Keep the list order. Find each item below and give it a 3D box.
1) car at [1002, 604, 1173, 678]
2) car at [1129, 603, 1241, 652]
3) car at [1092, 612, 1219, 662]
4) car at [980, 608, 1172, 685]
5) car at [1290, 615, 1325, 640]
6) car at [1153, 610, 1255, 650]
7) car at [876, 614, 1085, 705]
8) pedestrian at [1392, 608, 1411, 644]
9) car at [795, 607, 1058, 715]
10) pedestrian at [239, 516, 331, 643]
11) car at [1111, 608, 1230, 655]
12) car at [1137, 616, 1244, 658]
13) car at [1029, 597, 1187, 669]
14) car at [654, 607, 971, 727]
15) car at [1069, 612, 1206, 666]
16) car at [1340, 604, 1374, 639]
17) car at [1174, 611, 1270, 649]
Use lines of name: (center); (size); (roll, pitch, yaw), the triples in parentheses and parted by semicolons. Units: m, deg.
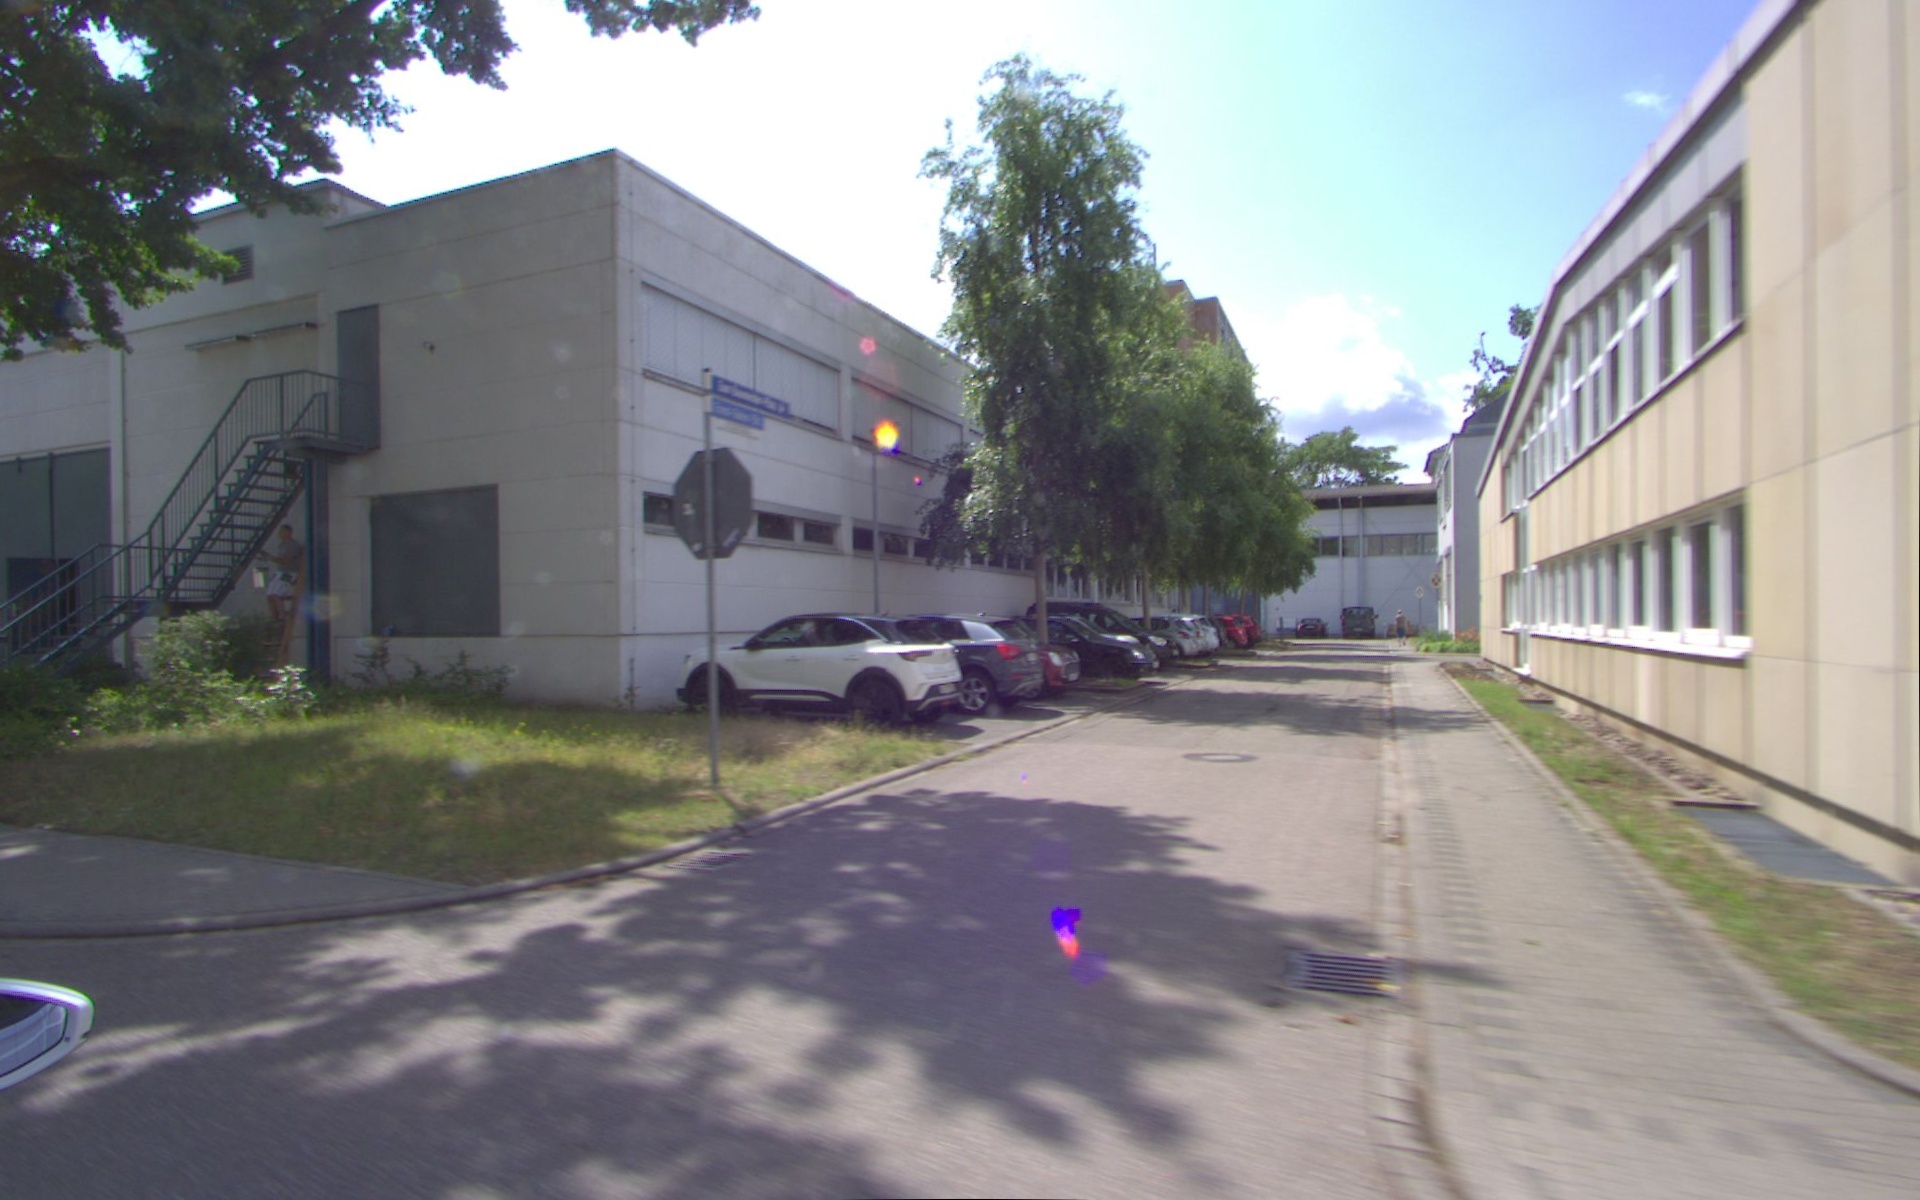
car: (3.246, 0.991, 25.543); (3.933, 1.660, 1.826); (2, 0, 24)
car: (8.705, 1.062, 38.758); (3.934, 1.843, 1.826); (-1, -1, 24)
car: (6.715, 1.229, 34.376); (3.933, 1.513, 1.826); (2, 0, 24)
car: (2.632, 1.000, 22.739); (3.933, 1.494, 1.826); (2, 0, 24)
car: (21.755, 1.670, 62.652); (1.799, 1.449, 3.990); (2, 0, 22)
car: (10.461, 1.248, 42.911); (3.933, 1.513, 1.826); (2, 0, 24)
car: (0.400, 1.068, 18.585); (3.561, 1.572, 1.628); (-1, -1, 20)
pedestrian: (20.902, 1.250, 47.433); (0.718, 1.680, 0.828); (-1, -1, 30)
car: (-0.545, 0.942, 16.428); (3.934, 1.599, 1.826); (-1, -1, 24)
pedestrian: (-11.257, -0.315, 16.715); (0.934, 2.040, 0.926); (0, 0, 27)
car: (7.688, 1.125, 36.632); (3.933, 1.513, 1.826); (2, 0, 24)
car: (9.365, 1.469, 40.639); (3.933, 1.513, 1.826); (2, 0, 24)
car: (4.107, 0.906, 27.737); (3.935, 1.852, 1.994); (-1, -1, 25)
car: (-2.054, 0.876, 13.964); (4.110, 1.496, 1.669); (-1, -1, 22)
car: (5.657, 1.201, 31.840); (3.933, 1.513, 1.826); (2, 0, 24)
car: (24.096, 1.289, 60.815); (1.799, 2.038, 3.990); (2, 0, 22)
car: (11.866, 1.335, 45.393); (3.933, 1.513, 1.826); (2, 0, 24)
